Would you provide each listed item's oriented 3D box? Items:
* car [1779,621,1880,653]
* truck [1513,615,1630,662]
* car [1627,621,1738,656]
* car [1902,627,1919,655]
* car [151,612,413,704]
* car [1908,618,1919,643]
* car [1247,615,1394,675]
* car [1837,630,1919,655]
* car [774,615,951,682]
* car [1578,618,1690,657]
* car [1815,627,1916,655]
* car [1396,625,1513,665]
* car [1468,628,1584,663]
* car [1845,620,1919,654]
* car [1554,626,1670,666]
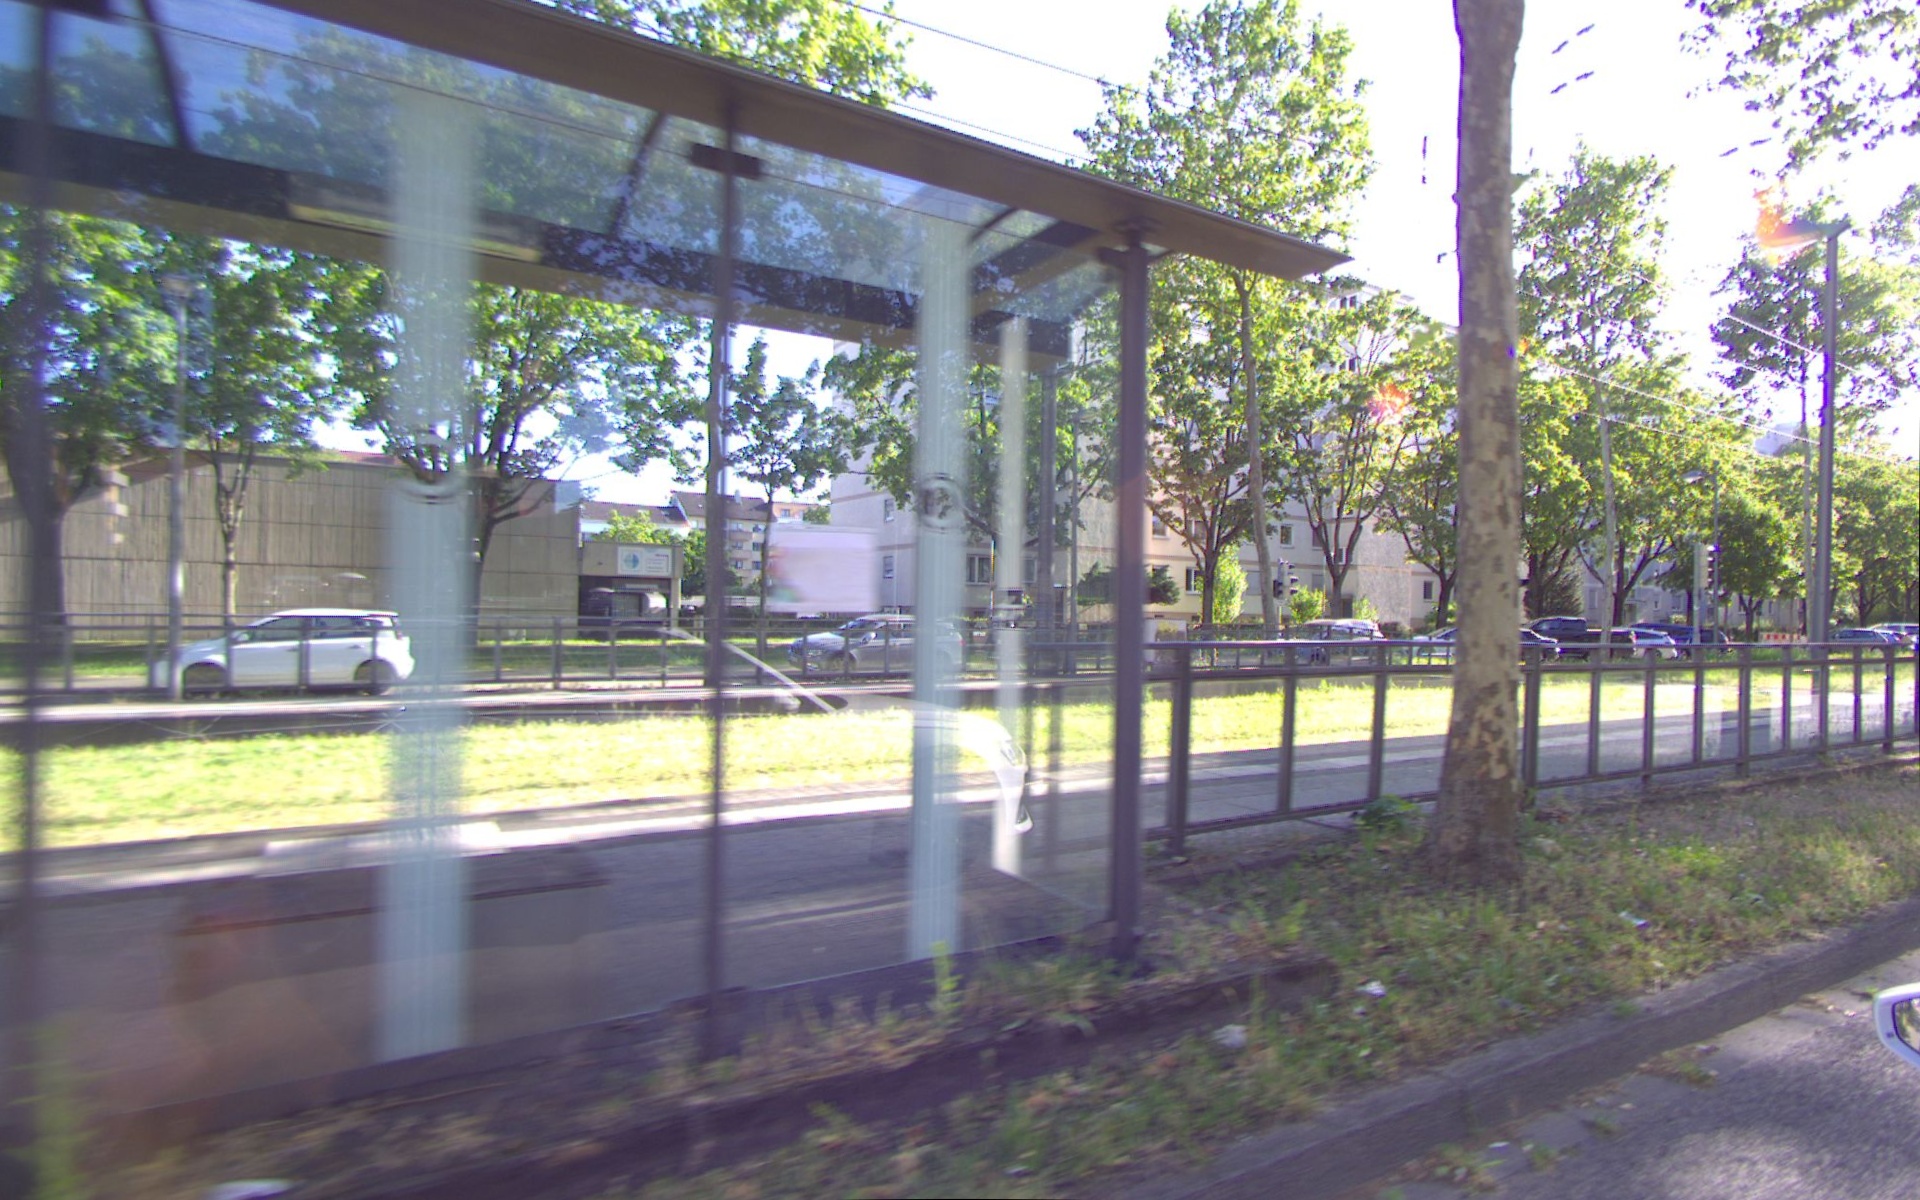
[{"bbox_3d":[49.292,2.101,57.011,4.004,1.667,1.652,1,-2,18],"label":"car"},{"bbox_3d":[25.812,1.607,42.571,4.007,1.799,1.650,1,1,24],"label":"truck"},{"bbox_3d":[34.884,1.832,48.618,4.002,1.496,1.651,0,3,13],"label":"car"},{"bbox_3d":[50.554,2.097,51.613,4.117,1.408,1.985,1,-1,-29],"label":"car"},{"bbox_3d":[-12.511,1.027,18.865,3.884,1.566,1.707,1,-1,-28],"label":"car"},{"bbox_3d":[66.394,2.089,67.236,4.017,1.629,1.989,0,1,34],"label":"car"},{"bbox_3d":[10.041,1.214,27.933,3.885,1.566,1.707,1,-1,-29],"label":"car"},{"bbox_3d":[55.951,2.582,60.794,4.004,1.451,1.580,1,-2,18],"label":"car"},{"bbox_3d":[-2.455,1.181,25.445,4.150,1.566,1.706,1,-1,-30],"label":"car"},{"bbox_3d":[31.372,1.742,46.852,4.002,1.668,1.652,0,2,14],"label":"car"},{"bbox_3d":[52.482,2.358,58.295,4.004,1.502,1.652,1,-1,18],"label":"car"},{"bbox_3d":[19.272,1.725,39.308,3.747,1.454,1.842,0,-1,10],"label":"car"},{"bbox_3d":[22.712,1.806,40.466,3.749,1.263,1.841,0,-1,18],"label":"car"},{"bbox_3d":[58.511,2.294,62.525,4.705,2.033,1.892,1,1,22],"label":"car"},{"bbox_3d":[28.974,2.016,44.757,4.004,1.668,1.652,1,-1,18],"label":"car"}]
